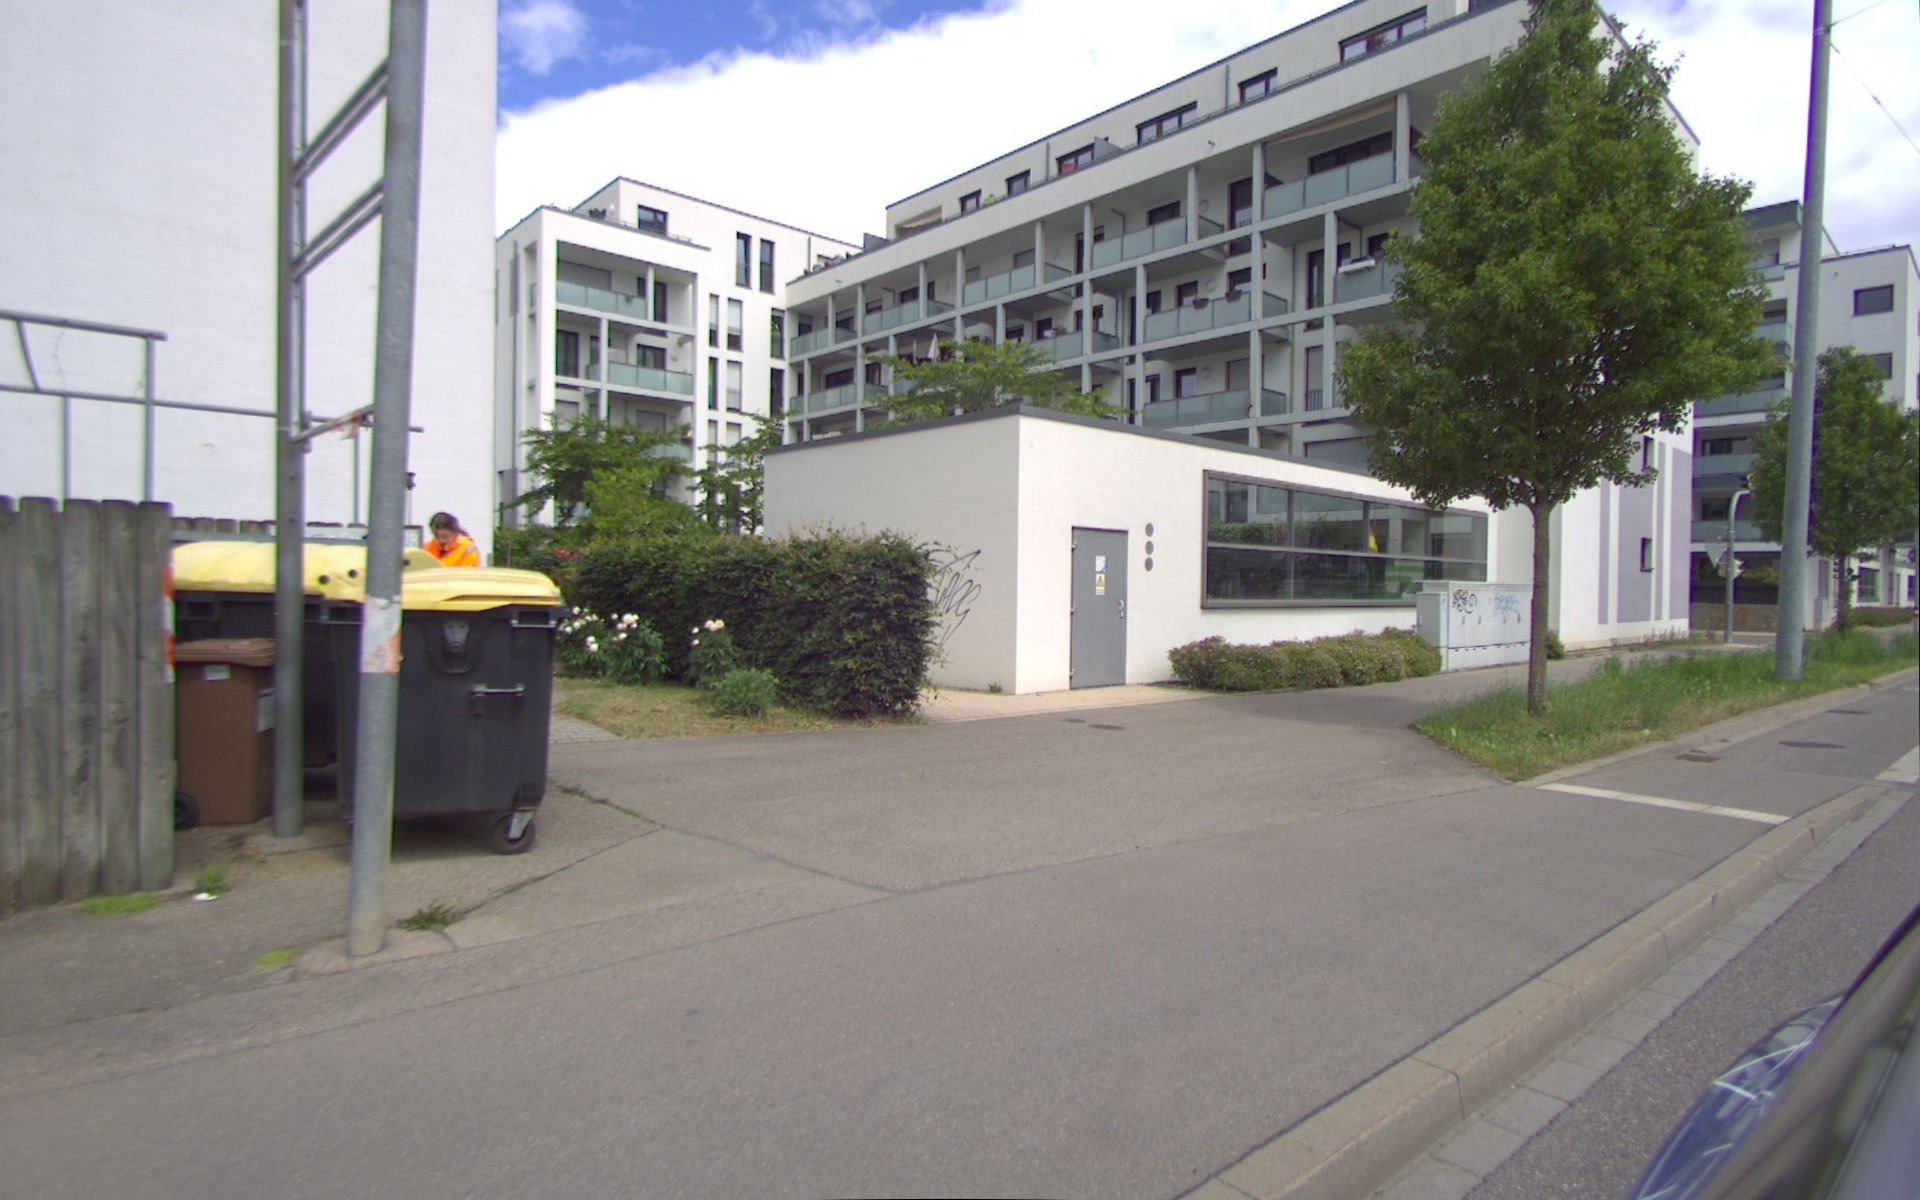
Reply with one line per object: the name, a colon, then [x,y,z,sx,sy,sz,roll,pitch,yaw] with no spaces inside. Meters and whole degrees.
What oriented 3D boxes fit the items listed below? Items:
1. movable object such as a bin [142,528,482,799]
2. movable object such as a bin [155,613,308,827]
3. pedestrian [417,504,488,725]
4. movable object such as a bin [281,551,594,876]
movable object such as a bin: [-3.798,0.316,6.117,1.226,1.453,1.325,0,2,-4]
movable object such as a bin: [-3.792,0.596,5.300,0.398,1.039,0.568,-1,0,-4]
pedestrian: [-4.257,0.110,8.511,0.490,1.787,0.509,-1,0,-24]
movable object such as a bin: [-2.567,0.448,5.132,1.225,1.378,1.326,-1,2,-24]
